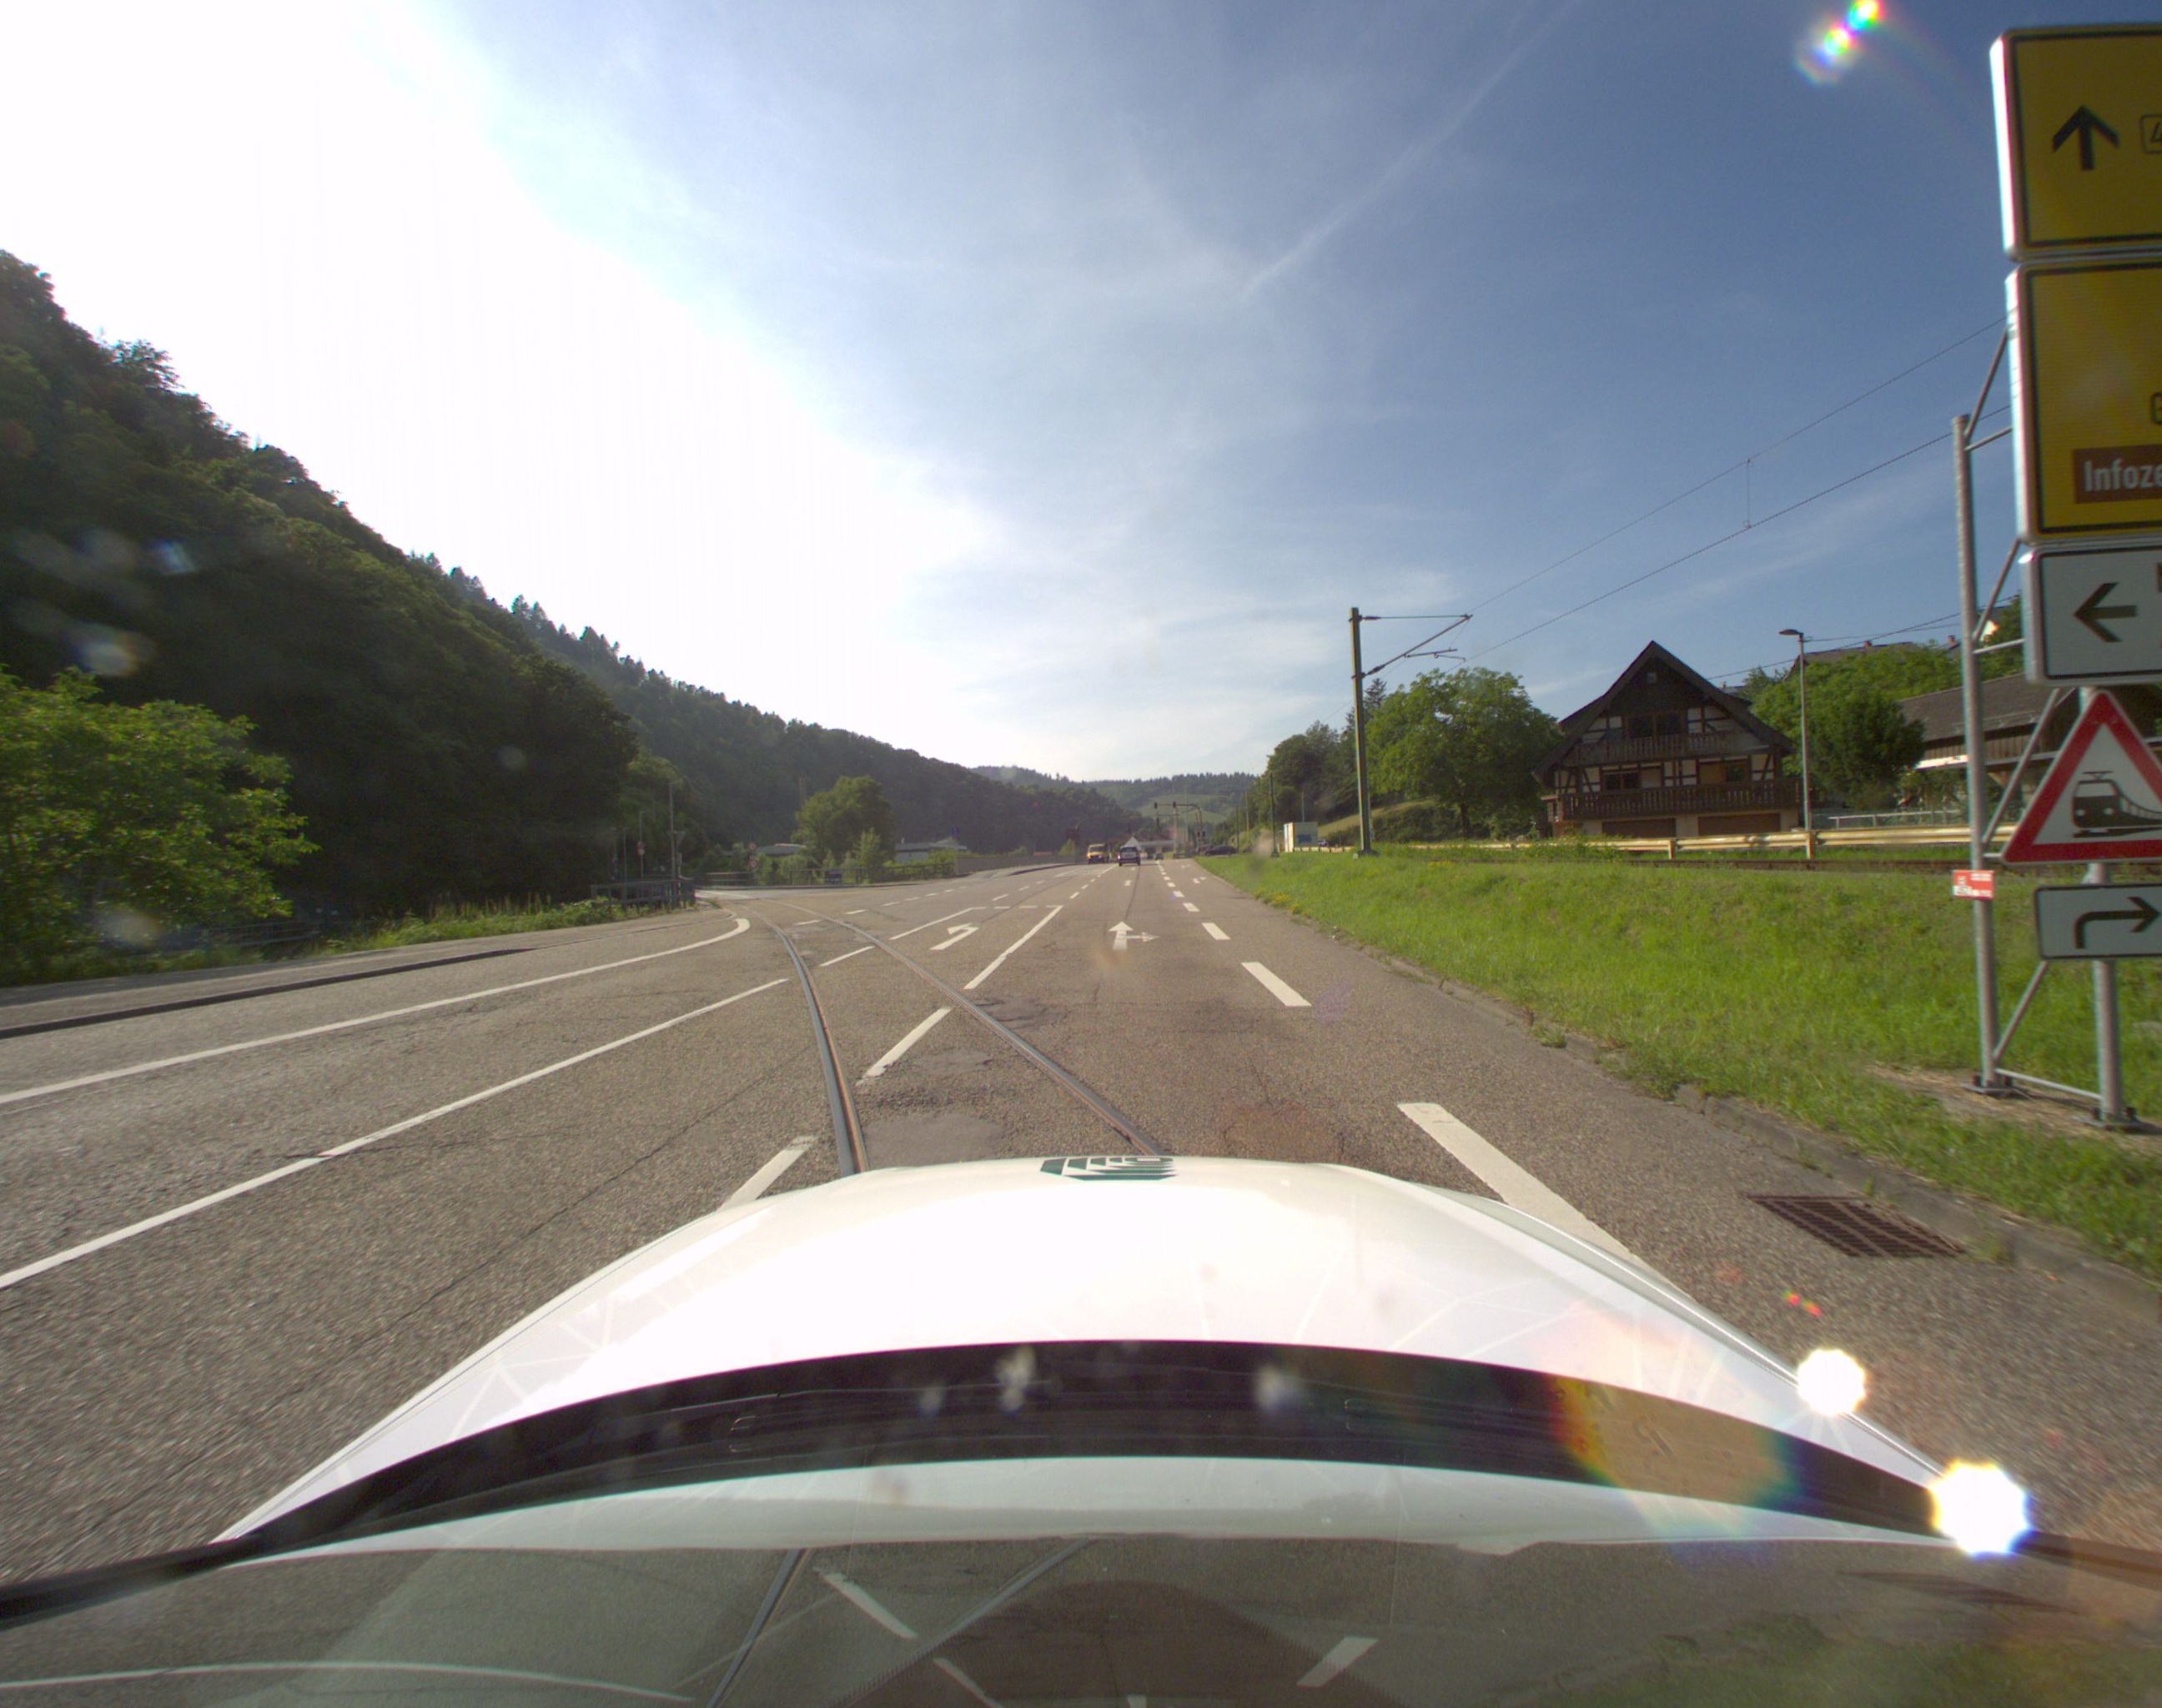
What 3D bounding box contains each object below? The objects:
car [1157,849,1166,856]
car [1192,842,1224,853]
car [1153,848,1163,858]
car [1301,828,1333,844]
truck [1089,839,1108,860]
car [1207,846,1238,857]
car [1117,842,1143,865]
[{"bbox_3d":[19.357,-0.434,195.853,1.985,1.618,4.005,-3,0,4],"label":"car"},{"bbox_3d":[17.308,-0.877,110.774,3.954,1.354,1.887,-3,1,19],"label":"car"},{"bbox_3d":[17.292,-0.273,182.360,1.985,2.013,4.005,-3,0,4],"label":"car"},{"bbox_3d":[31.767,-2.405,109.466,3.954,1.881,1.887,-3,1,19],"label":"car"},{"bbox_3d":[2.139,-0.559,97.638,1.985,2.343,5.705,-3,1,4],"label":"truck"},{"bbox_3d":[19.554,-0.336,112.678,3.954,1.354,1.887,-3,1,19],"label":"car"},{"bbox_3d":[4.045,-0.069,67.271,1.985,1.723,3.993,-4,0,3],"label":"car"}]
